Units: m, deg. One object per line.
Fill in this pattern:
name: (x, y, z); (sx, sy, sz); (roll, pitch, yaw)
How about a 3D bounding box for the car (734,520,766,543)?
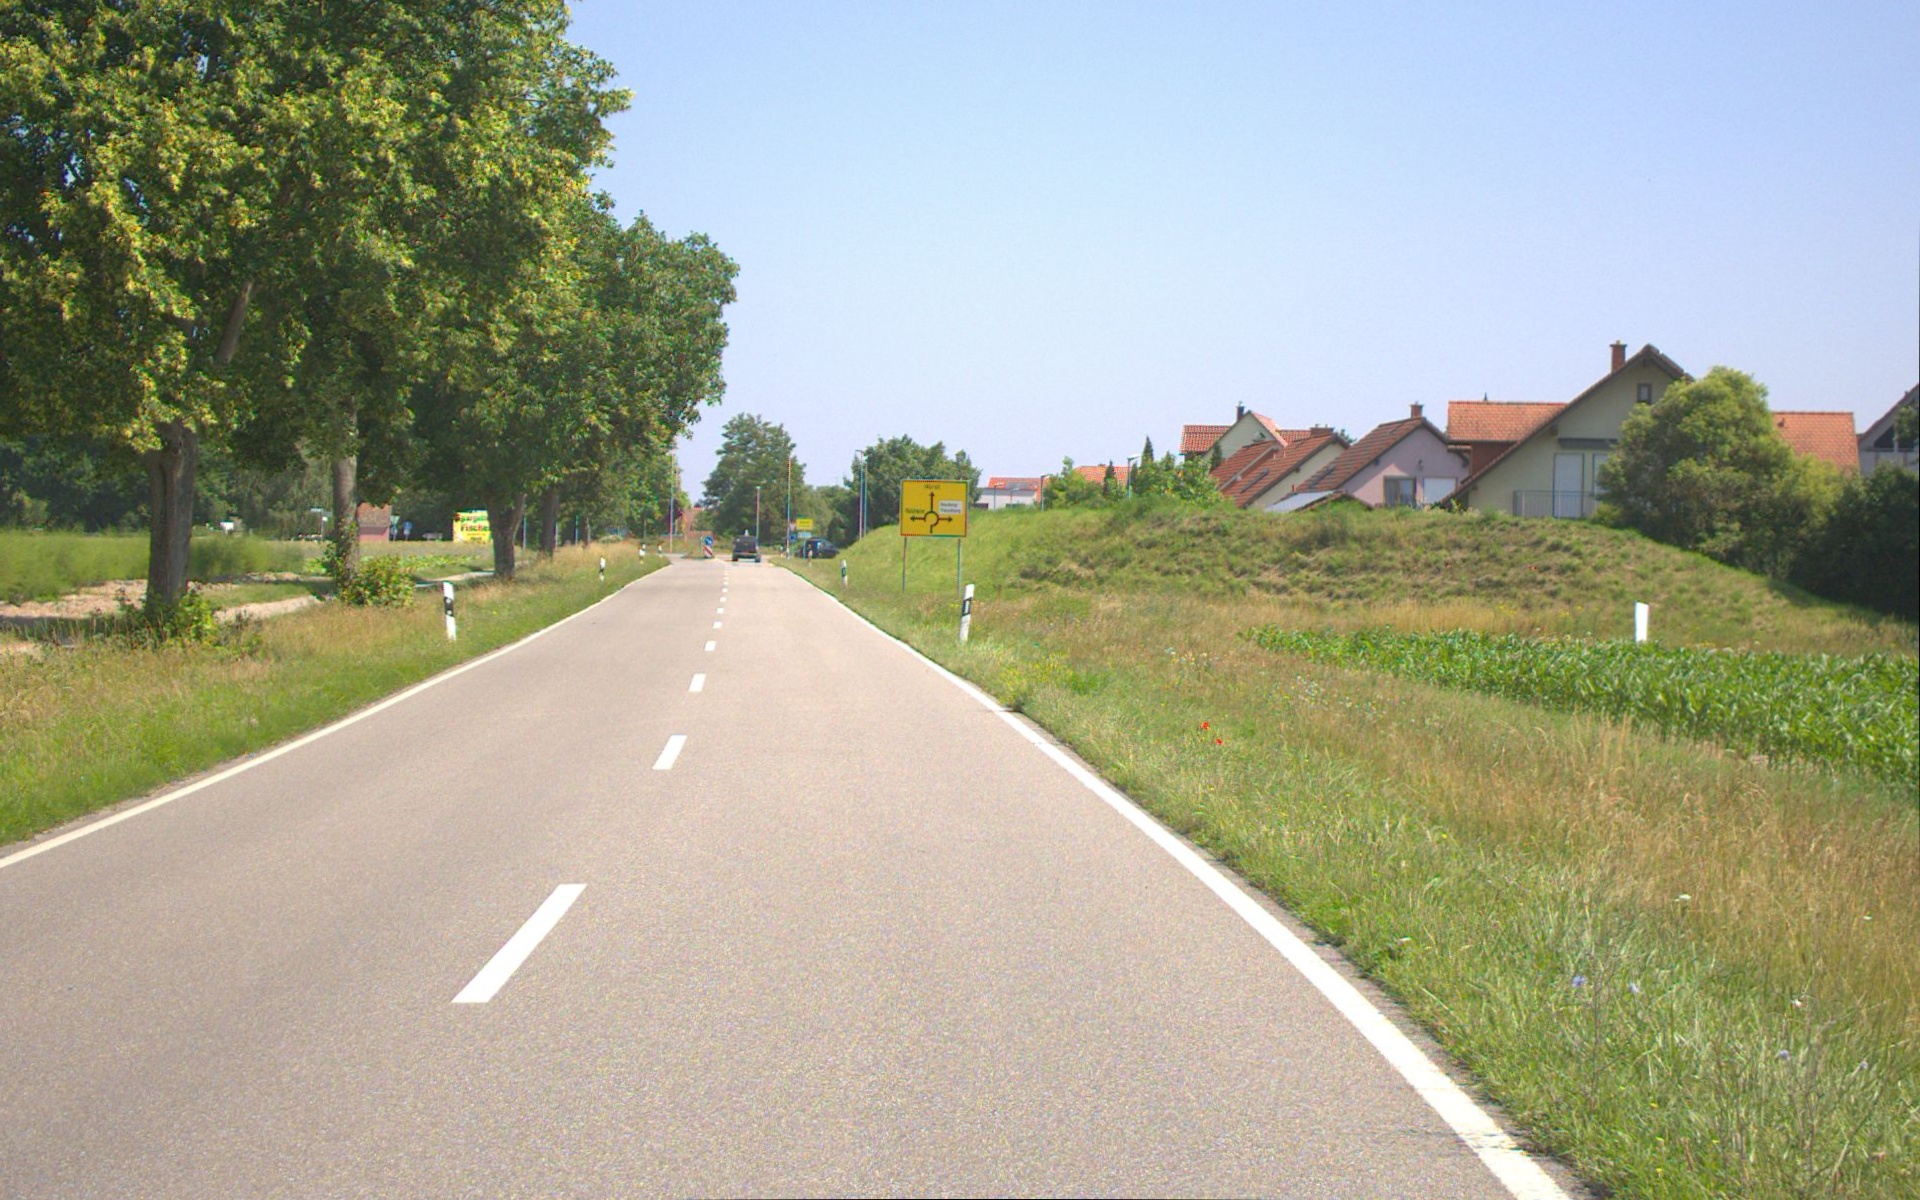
car: (-14.193, -4.644, 232.517); (1.838, 1.531, 3.610); (1, 1, 2)
